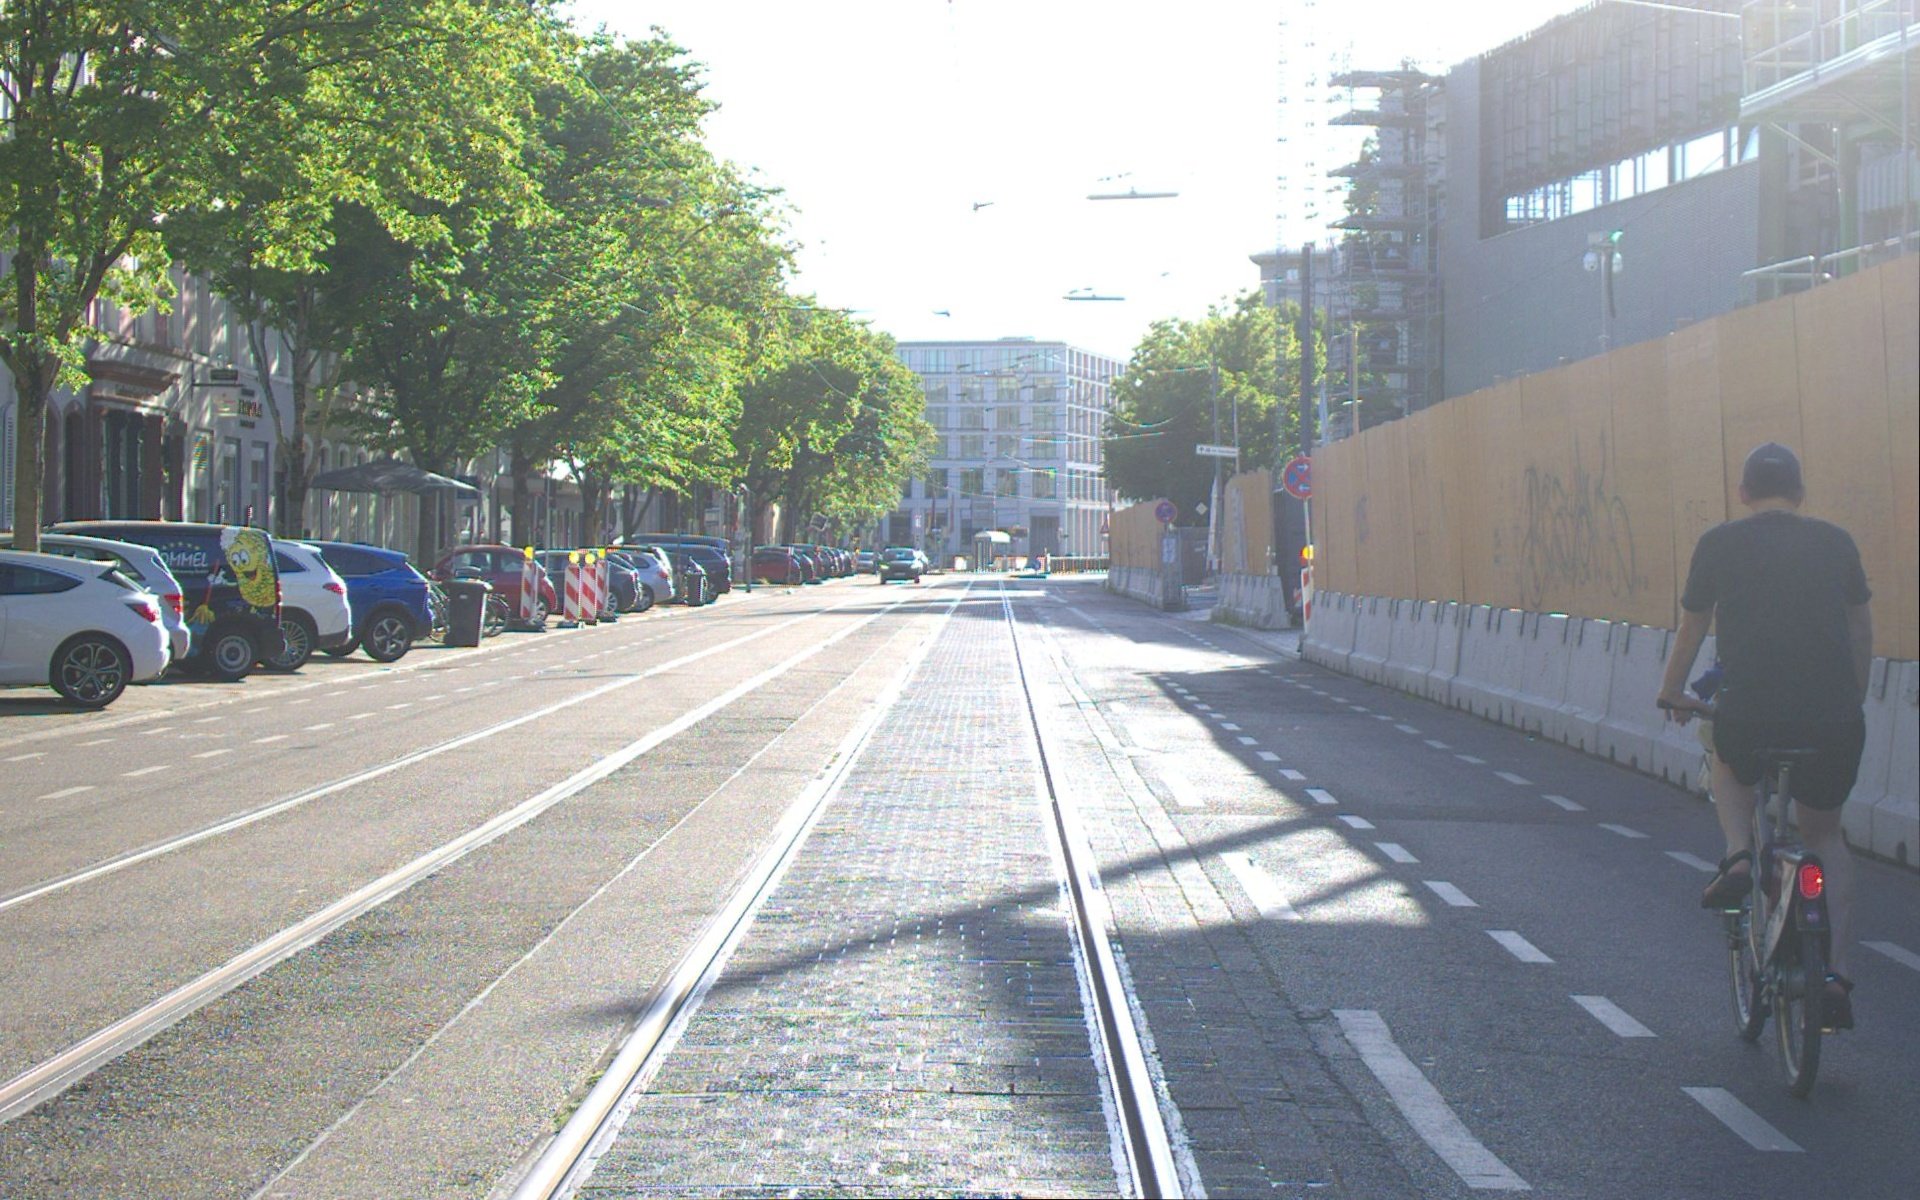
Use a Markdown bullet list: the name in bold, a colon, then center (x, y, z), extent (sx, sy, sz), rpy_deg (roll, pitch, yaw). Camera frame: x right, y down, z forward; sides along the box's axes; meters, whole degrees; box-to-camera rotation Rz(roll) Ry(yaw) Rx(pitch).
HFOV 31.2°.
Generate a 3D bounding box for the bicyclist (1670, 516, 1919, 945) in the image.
- **bicyclist**: center (2.470, 0.376, 10.155), extent (0.651, 1.233, 0.353), rpy_deg (-1, 1, -1)

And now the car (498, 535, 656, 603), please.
- **car**: center (-9.160, -0.735, 82.180), extent (3.362, 1.488, 1.613), rpy_deg (1, 1, -27)

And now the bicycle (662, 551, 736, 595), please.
- **bicycle**: center (-7.225, -0.750, 95.229), extent (1.965, 1.140, 0.493), rpy_deg (1, 0, -17)

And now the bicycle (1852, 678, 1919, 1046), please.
- **bicycle**: center (3.297, 0.843, 10.327), extent (0.557, 1.123, 2.276), rpy_deg (-1, 1, -2)

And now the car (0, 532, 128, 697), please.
- **car**: center (-10.006, 0.080, 33.156), extent (3.634, 1.524, 1.887), rpy_deg (2, 0, -19)

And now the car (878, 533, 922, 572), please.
- **car**: center (-2.790, -2.230, 161.382), extent (1.928, 1.624, 4.249), rpy_deg (-3, 2, 0)

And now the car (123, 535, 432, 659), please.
- **car**: center (-9.462, -0.061, 47.788), extent (3.890, 1.603, 1.573), rpy_deg (-2, 1, -36)

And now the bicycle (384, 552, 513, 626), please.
- **bicycle**: center (-8.627, -0.186, 58.001), extent (2.003, 1.084, 0.567), rpy_deg (4, 1, 3)

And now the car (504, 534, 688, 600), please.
- **car**: center (-9.009, -0.811, 85.078), extent (4.103, 1.507, 1.841), rpy_deg (1, 1, -25)

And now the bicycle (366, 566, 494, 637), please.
- **bicycle**: center (-8.736, 0.016, 56.679), extent (1.968, 1.075, 0.568), rpy_deg (3, 1, 3)

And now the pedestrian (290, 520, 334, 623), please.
- **pedestrian**: center (-12.735, -0.569, 67.529), extent (0.731, 2.007, 0.556), rpy_deg (0, 1, 2)

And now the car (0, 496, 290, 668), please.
- **car**: center (-9.745, -0.166, 39.908), extent (3.434, 1.837, 1.733), rpy_deg (2, -3, -34)

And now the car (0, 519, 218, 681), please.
- **car**: center (-10.322, -0.033, 37.422), extent (3.986, 1.651, 1.811), rpy_deg (2, 2, -29)

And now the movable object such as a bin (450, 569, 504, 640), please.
- **movable object such as a bin**: center (-7.640, 0.066, 54.358), extent (0.684, 1.074, 0.710), rpy_deg (3, 1, 2)

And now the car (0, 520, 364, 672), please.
- **car**: center (-10.123, -0.087, 42.634), extent (4.926, 1.788, 2.208), rpy_deg (-1, 1, -38)

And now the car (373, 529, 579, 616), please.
- **car**: center (-9.447, -0.537, 67.065), extent (3.612, 1.548, 1.669), rpy_deg (1, 2, -25)

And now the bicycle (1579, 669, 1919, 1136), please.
- **bicycle**: center (2.356, 0.832, 10.342), extent (0.667, 1.150, 2.276), rpy_deg (1, 1, 3)

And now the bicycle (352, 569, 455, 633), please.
- **bicycle**: center (-8.903, 0.016, 55.001), extent (1.599, 0.984, 0.389), rpy_deg (1, 1, -10)

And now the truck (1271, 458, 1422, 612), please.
- **truck**: center (7.842, -1.316, 70.243), extent (2.520, 2.899, 5.507), rpy_deg (-3, 1, 2)
